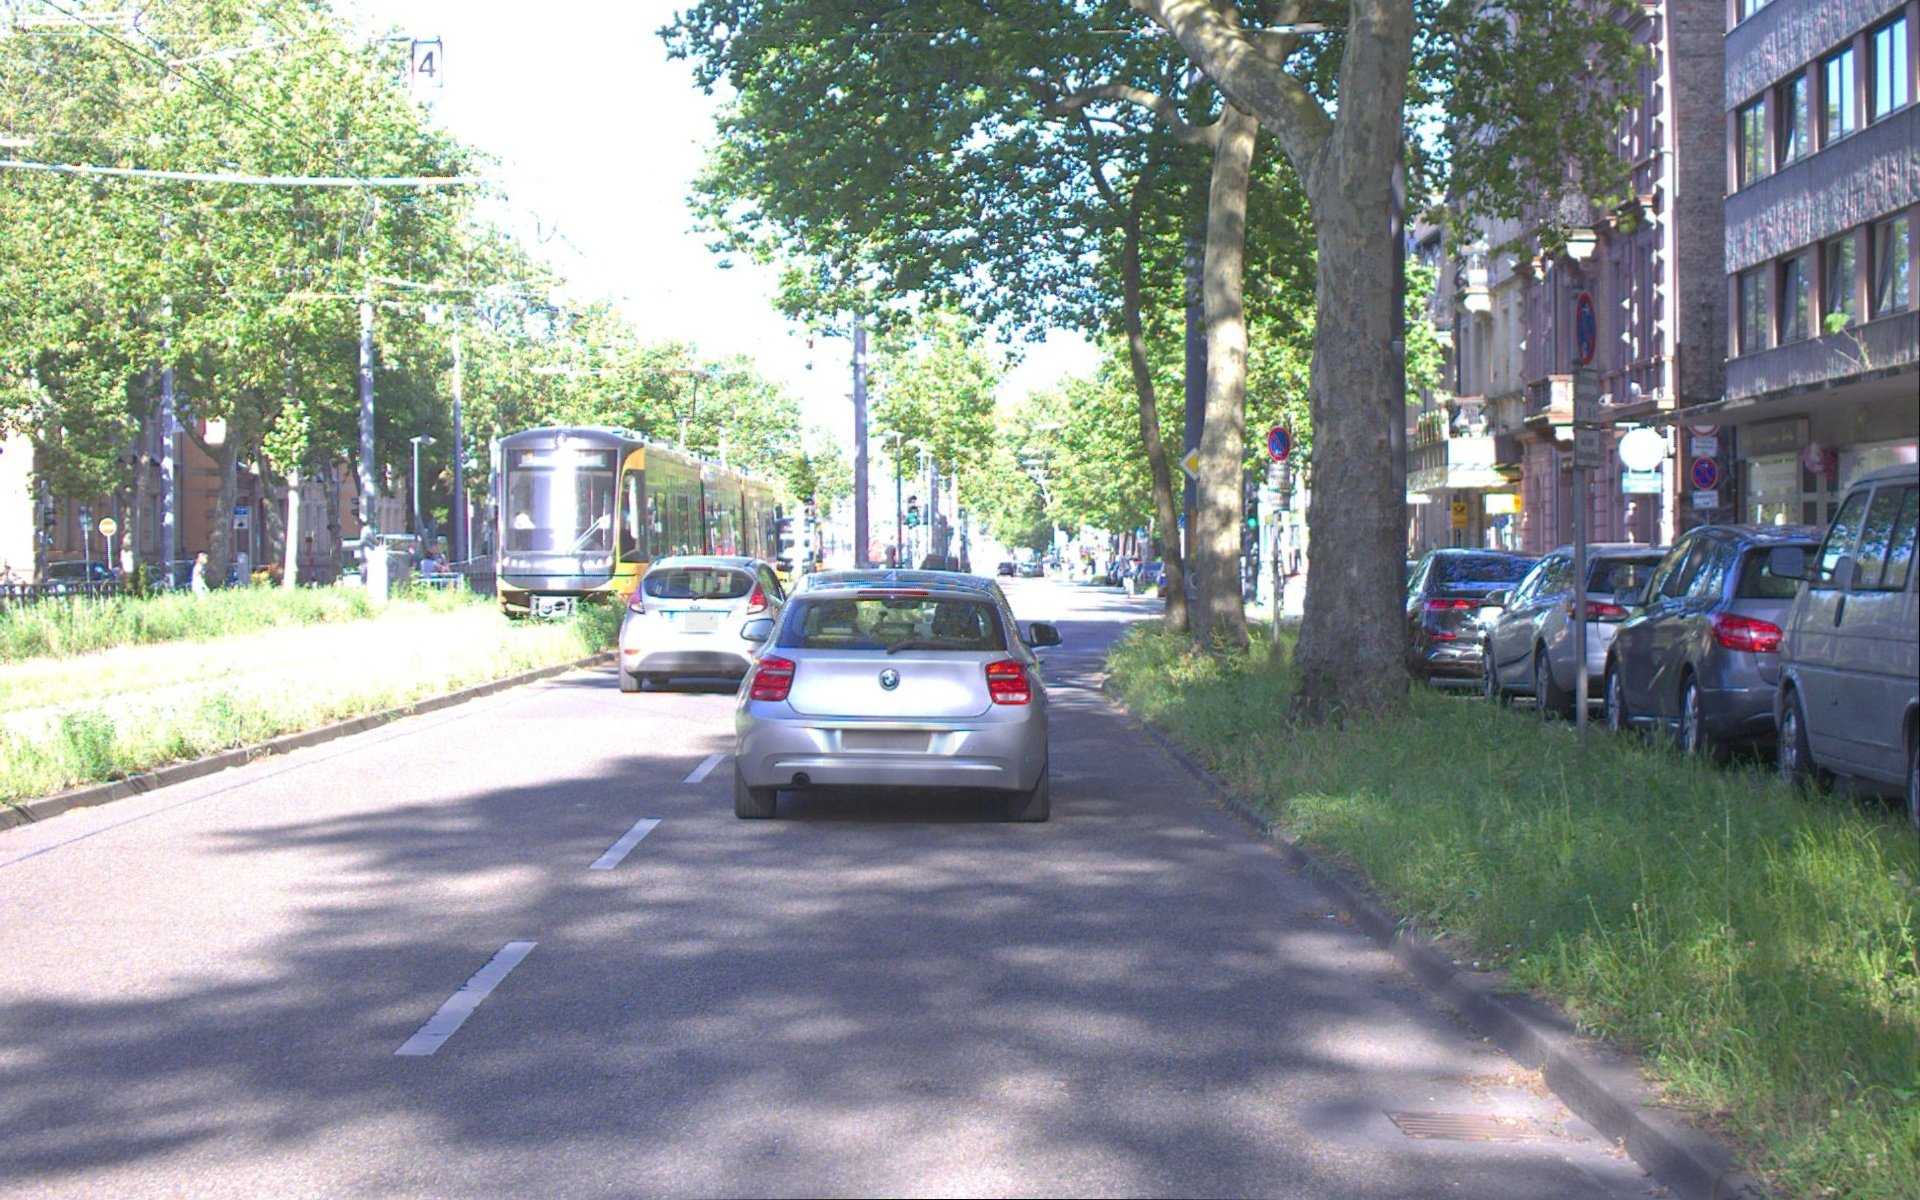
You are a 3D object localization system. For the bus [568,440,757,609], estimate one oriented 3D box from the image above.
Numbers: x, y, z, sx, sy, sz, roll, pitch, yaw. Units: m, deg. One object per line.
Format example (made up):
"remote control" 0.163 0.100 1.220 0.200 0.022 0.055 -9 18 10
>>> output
"bus" -6.409 -1.642 75.996 2.869 3.432 12.215 0 1 1

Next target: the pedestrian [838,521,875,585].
"pedestrian" -3.089 -1.399 102.993 1.072 1.909 1.127 0 1 -1

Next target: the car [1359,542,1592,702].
"car" 5.265 0.183 35.698 1.806 1.484 4.919 2 1 2

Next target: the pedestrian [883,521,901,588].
"pedestrian" -1.945 -1.303 98.025 0.450 1.896 0.585 0 1 -6

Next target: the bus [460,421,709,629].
"bus" -6.676 -1.348 63.348 2.869 3.432 13.217 0 1 1

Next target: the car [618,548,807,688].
"car" -2.627 0.156 37.176 1.647 1.358 3.760 2 1 1

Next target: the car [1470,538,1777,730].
"car" 5.585 0.241 29.483 1.677 1.461 4.670 2 1 0

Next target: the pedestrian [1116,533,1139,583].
"pedestrian" 6.874 -1.718 141.247 0.838 2.007 0.648 2 1 8

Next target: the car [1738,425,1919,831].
"car" 5.275 0.113 16.963 1.865 1.809 4.799 2 1 2

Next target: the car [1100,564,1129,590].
"car" 9.841 -1.478 219.543 1.700 1.529 3.717 2 1 1

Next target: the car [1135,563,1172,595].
"car" 9.995 -1.112 177.786 1.669 1.546 4.000 2 1 1

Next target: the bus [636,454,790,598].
"bus" -6.191 -1.877 87.952 2.869 3.432 11.611 0 1 1

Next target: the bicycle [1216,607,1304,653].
"bicycle" 7.067 0.706 81.003 2.014 0.990 0.444 2 1 -1

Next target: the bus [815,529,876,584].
"bus" -7.798 -3.094 237.527 2.869 3.616 24.603 0 1 1

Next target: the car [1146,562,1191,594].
"car" 10.423 -1.106 172.308 1.993 1.504 4.597 2 0 1

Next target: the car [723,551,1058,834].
"car" -0.367 0.472 20.512 1.762 1.427 4.000 2 1 0

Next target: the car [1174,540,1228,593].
"car" 9.182 -1.300 131.103 1.754 1.958 4.737 1 1 1

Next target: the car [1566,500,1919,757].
"car" 5.252 0.136 22.852 1.704 1.497 4.358 2 1 1

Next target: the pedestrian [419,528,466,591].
"pedestrian" -13.588 -1.053 90.316 1.176 1.638 0.893 0 0 -6

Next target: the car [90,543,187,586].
"car" -23.629 -1.021 98.992 1.792 1.174 4.000 2 1 0
